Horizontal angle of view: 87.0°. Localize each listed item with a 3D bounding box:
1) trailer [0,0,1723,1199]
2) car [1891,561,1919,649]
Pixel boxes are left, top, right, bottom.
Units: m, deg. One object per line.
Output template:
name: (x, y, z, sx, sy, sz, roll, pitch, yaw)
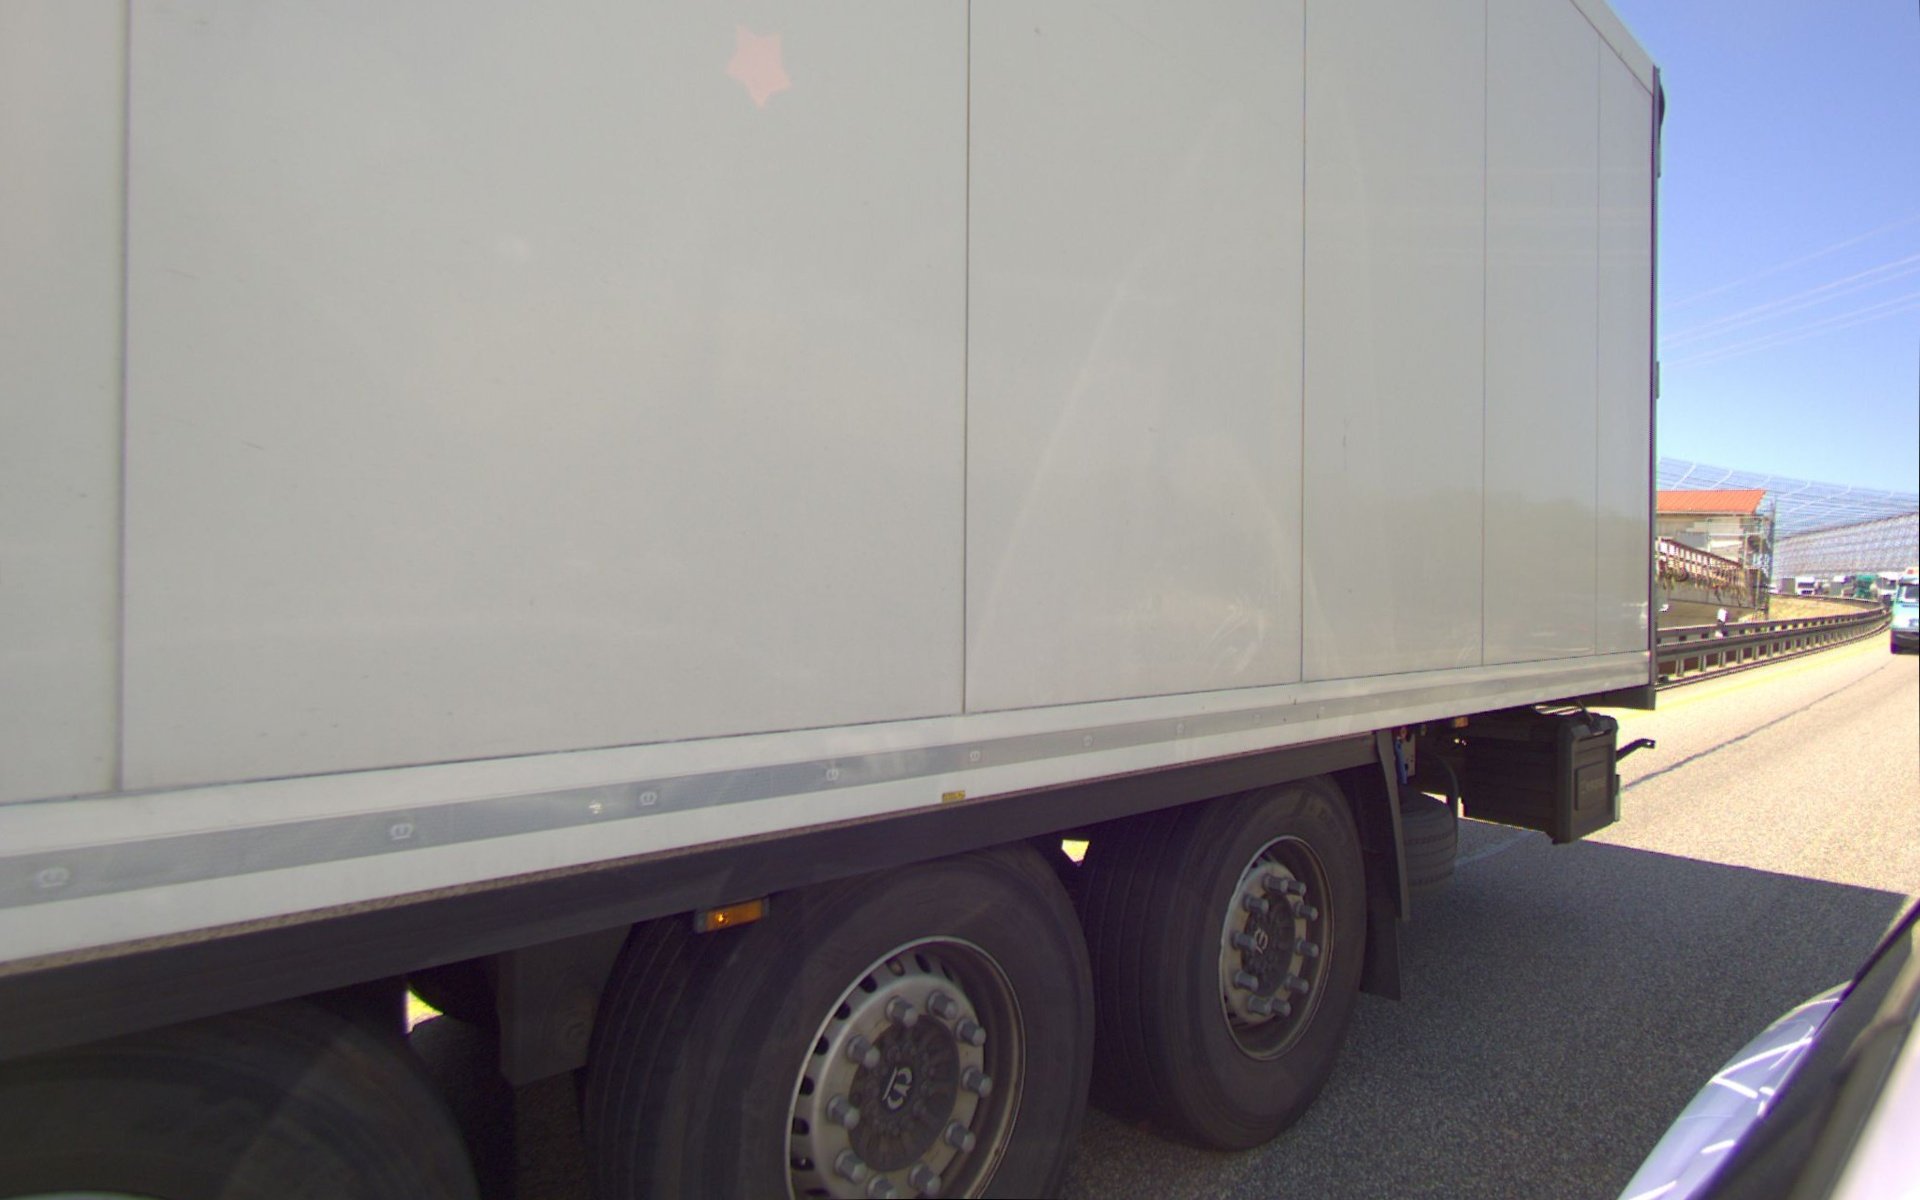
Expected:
trailer: (-0.445, -0.682, 3.228, 11.351, 4.179, 2.535, -1, 0, -42)
car: (28.781, 0.109, 29.163, 6.783, 2.355, 2.215, -1, 1, -42)
